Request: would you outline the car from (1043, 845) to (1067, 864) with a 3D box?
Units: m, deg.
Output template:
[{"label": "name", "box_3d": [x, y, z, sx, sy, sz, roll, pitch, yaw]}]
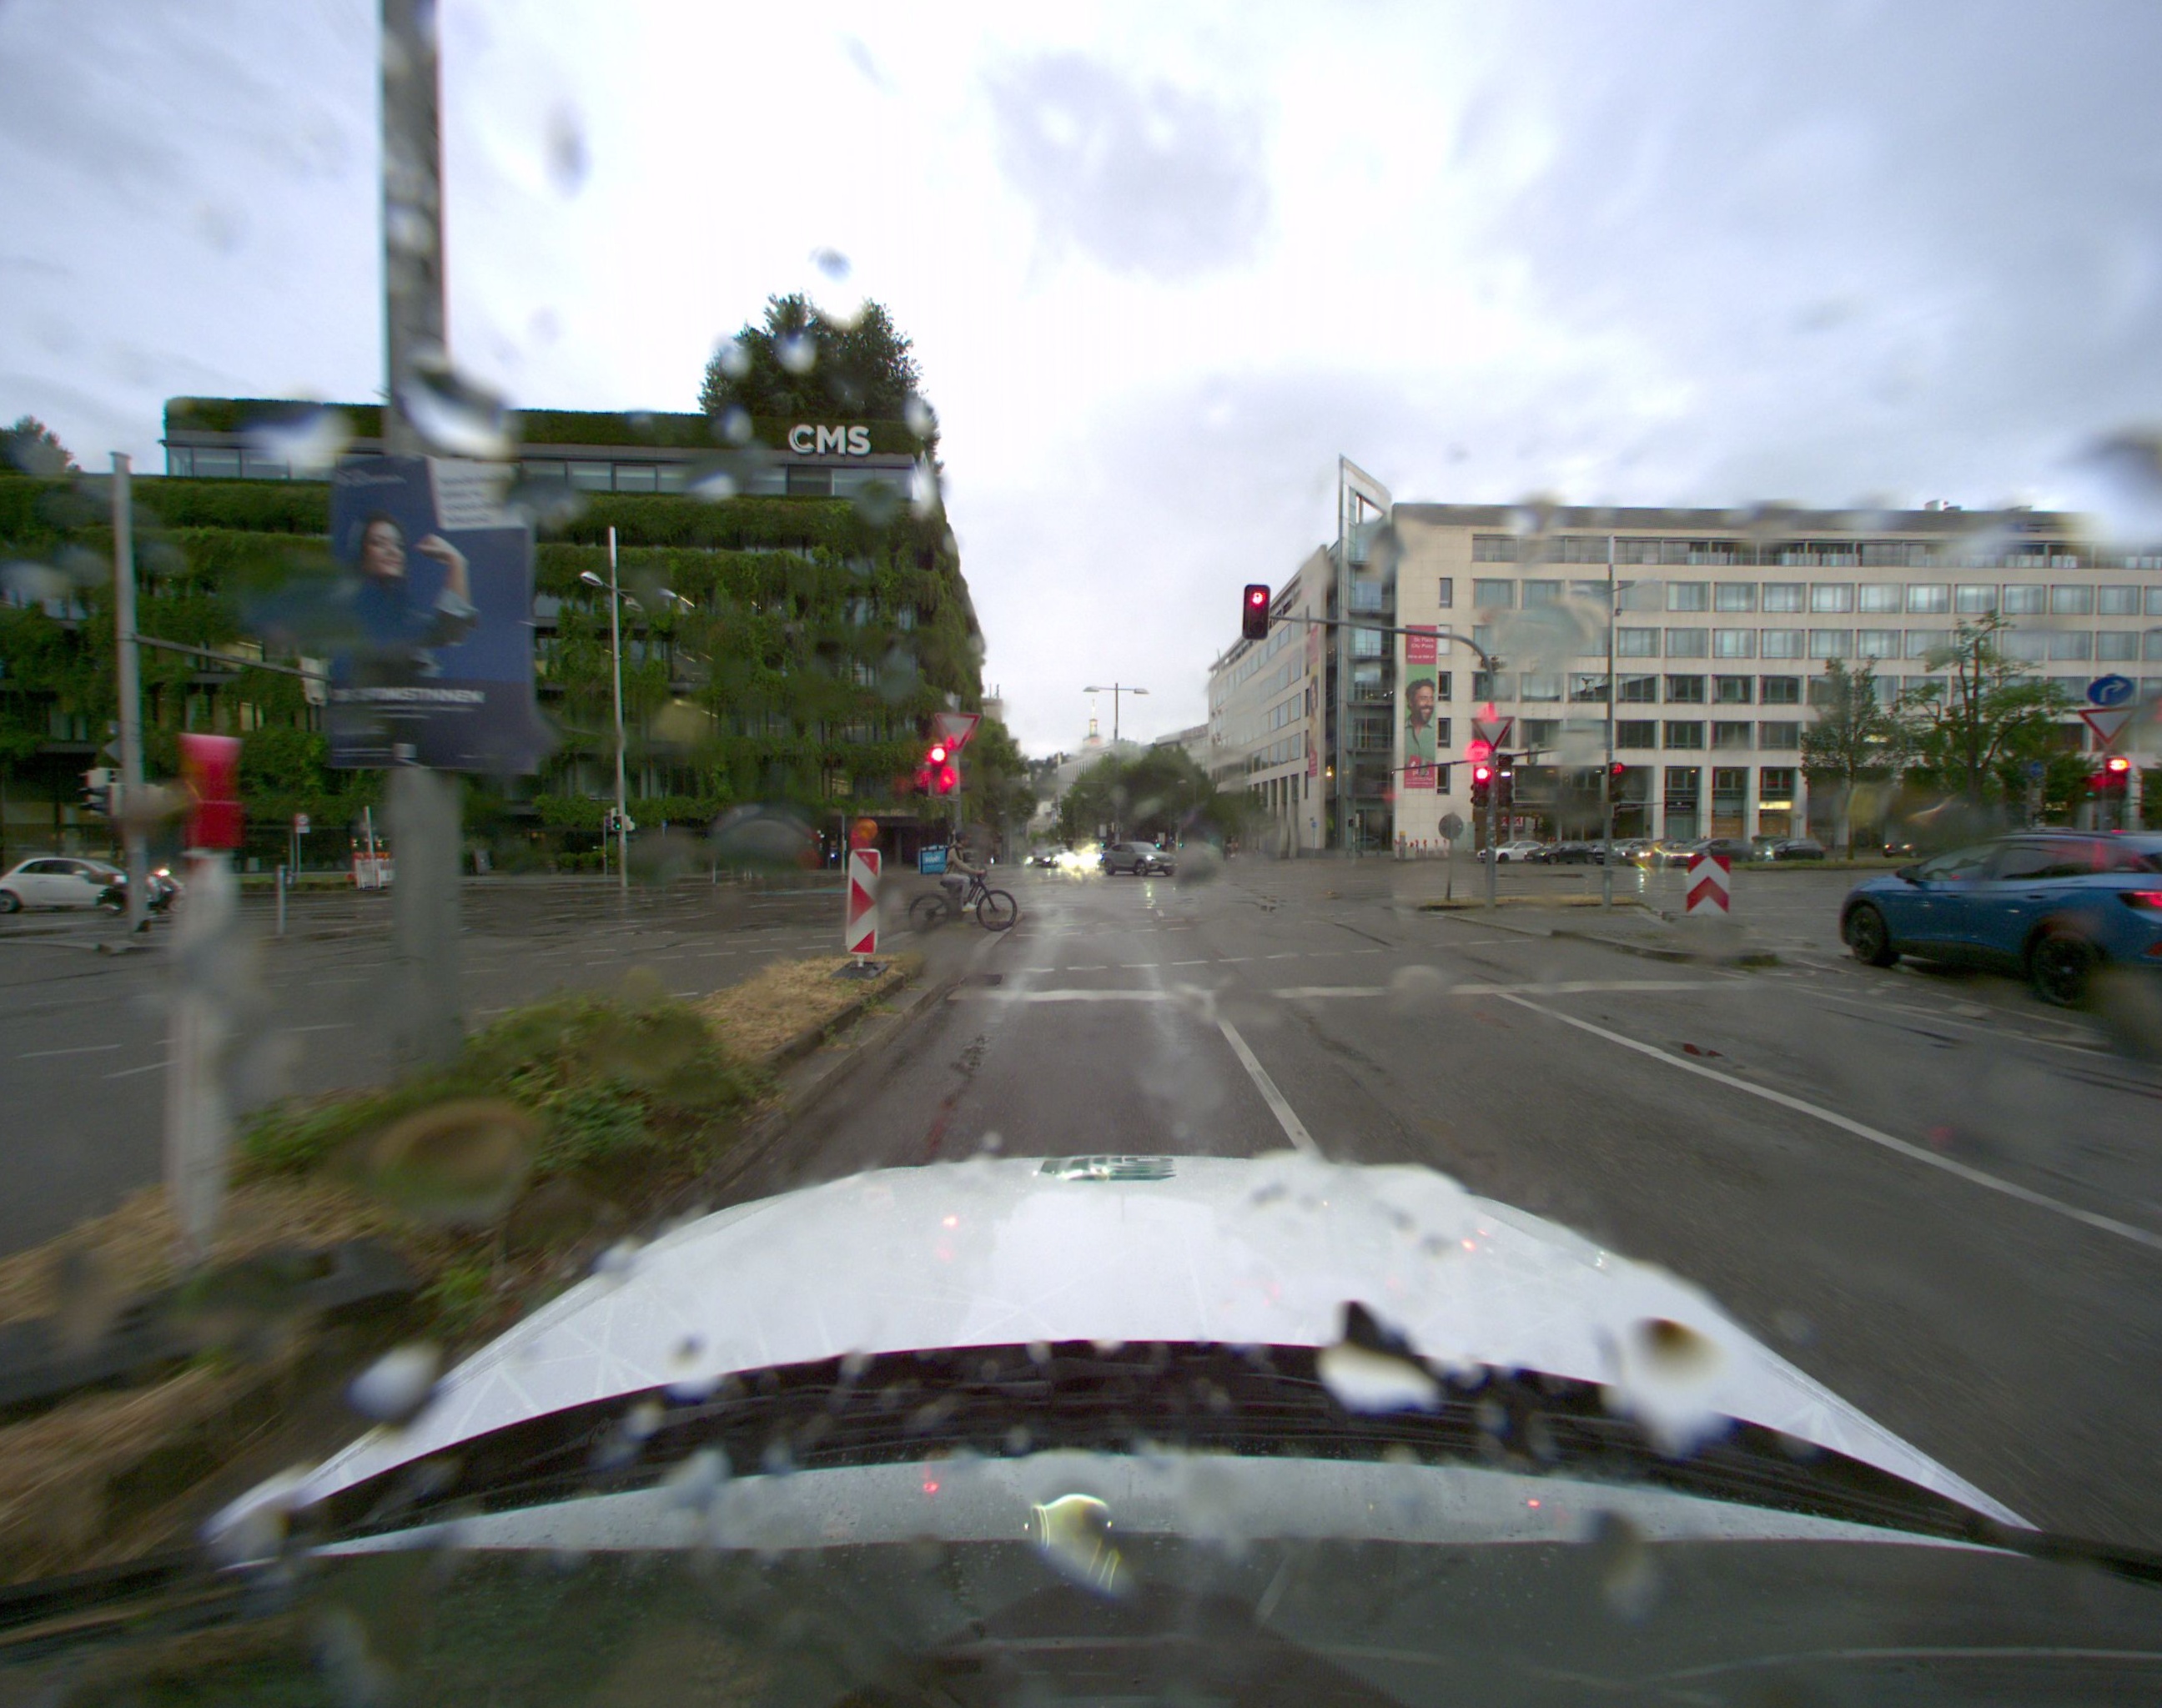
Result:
[{"label": "car", "box_3d": [-2.218, 0.026, 68.790, 1.853, 1.448, 4.614, -1, 1, -4]}]

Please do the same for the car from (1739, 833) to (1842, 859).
[{"label": "car", "box_3d": [39.160, -0.450, 44.986, 4.639, 1.348, 1.919, -1, 0, -13]}]

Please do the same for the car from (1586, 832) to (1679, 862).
[{"label": "car", "box_3d": [31.834, -0.414, 47.047, 4.455, 1.598, 1.991, -1, 0, -13]}]

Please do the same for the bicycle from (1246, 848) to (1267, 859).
[{"label": "bicycle", "box_3d": [15.015, -0.028, 69.792, 1.778, 0.934, 0.478, 0, 0, 43]}]

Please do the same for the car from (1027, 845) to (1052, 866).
[{"label": "car", "box_3d": [-3.169, 0.091, 62.266, 1.852, 1.448, 4.616, -1, 1, -3]}]

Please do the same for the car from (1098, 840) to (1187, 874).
[{"label": "car", "box_3d": [2.891, 0.112, 39.399, 2.007, 1.550, 4.510, -1, 1, -32]}]

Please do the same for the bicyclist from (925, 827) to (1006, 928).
[{"label": "bicyclist", "box_3d": [-2.065, 0.394, 14.454, 1.297, 1.704, 0.843, -1, 0, -17]}]

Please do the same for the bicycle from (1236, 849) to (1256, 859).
[{"label": "bicycle", "box_3d": [15.141, -0.014, 74.866, 1.786, 0.934, 0.476, -1, 0, 4]}]

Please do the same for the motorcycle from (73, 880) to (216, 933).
[{"label": "motorcycle", "box_3d": [-23.371, 1.291, 20.377, 2.231, 1.210, 0.844, -1, 0, -15]}]

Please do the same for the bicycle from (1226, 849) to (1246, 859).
[{"label": "bicycle", "box_3d": [14.575, -0.012, 76.730, 1.786, 0.934, 0.476, -1, 0, 4]}]

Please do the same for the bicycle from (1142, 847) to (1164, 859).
[{"label": "bicycle", "box_3d": [7.012, -0.090, 79.458, 0.798, 1.117, 2.229, -1, 0, -39]}]

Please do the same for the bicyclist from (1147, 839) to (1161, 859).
[{"label": "bicyclist", "box_3d": [7.134, -0.481, 79.312, 0.798, 1.975, 1.101, -1, 0, -39]}]

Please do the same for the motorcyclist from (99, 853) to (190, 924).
[{"label": "motorcyclist", "box_3d": [-23.391, 0.837, 20.372, 1.187, 1.703, 0.844, -1, 0, -15]}]

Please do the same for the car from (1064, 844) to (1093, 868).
[{"label": "car", "box_3d": [-0.149, 0.125, 57.735, 1.987, 1.486, 4.465, -1, 2, 1]}]

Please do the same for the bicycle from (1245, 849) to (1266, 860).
[{"label": "bicycle", "box_3d": [15.077, 0.006, 70.536, 1.778, 0.934, 0.478, 0, 0, 43]}]

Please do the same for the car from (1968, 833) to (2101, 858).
[{"label": "car", "box_3d": [54.899, -0.468, 47.035, 4.591, 1.348, 1.939, 0, 0, 29]}]

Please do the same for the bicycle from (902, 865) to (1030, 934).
[{"label": "bicycle", "box_3d": [-2.050, 0.778, 14.447, 2.150, 1.103, 0.843, -1, 0, -17]}]

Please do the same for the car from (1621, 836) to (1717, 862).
[{"label": "car", "box_3d": [31.591, -0.269, 43.760, 4.455, 1.348, 1.715, -1, 0, -13]}]

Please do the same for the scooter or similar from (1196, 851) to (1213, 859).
[{"label": "scooter or similar", "box_3d": [12.706, 0.098, 83.835, 1.750, 0.878, 0.486, -1, 0, -18]}]

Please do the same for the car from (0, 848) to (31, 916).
[{"label": "car", "box_3d": [-28.530, 0.720, 18.959, 4.805, 1.652, 1.963, -1, 0, -12]}]

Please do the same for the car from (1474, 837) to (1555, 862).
[{"label": "car", "box_3d": [28.111, -0.303, 52.888, 4.455, 1.598, 1.991, -1, 0, -14]}]

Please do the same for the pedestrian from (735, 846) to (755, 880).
[{"label": "pedestrian", "box_3d": [-17.694, 0.447, 42.896, 0.939, 1.758, 1.163, -1, 0, -22]}]

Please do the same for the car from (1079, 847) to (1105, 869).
[{"label": "car", "box_3d": [0.919, 0.318, 69.953, 1.959, 1.655, 4.361, -1, 2, -2]}]

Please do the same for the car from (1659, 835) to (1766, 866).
[{"label": "car", "box_3d": [31.341, -0.193, 40.441, 4.452, 1.464, 1.716, -1, 0, -11]}]

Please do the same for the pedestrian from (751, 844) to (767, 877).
[{"label": "pedestrian", "box_3d": [-17.076, 0.335, 43.194, 0.744, 1.758, 0.969, -1, 0, -22]}]

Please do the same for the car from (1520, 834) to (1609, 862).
[{"label": "car", "box_3d": [29.368, -0.383, 49.526, 4.451, 1.598, 1.993, -1, 0, -10]}]

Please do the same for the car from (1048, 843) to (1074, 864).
[{"label": "car", "box_3d": [-1.909, -0.047, 75.821, 2.171, 1.823, 4.637, -1, 0, -4]}]

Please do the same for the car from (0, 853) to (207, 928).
[{"label": "car", "box_3d": [-27.000, 0.950, 22.405, 3.450, 1.922, 1.992, -1, 0, -11]}]

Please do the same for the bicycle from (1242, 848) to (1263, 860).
[{"label": "bicycle", "box_3d": [14.356, -0.013, 68.199, 1.778, 0.934, 0.478, 0, 0, 43]}]

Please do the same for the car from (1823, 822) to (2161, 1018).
[{"label": "car", "box_3d": [9.852, 0.483, 8.259, 1.690, 1.529, 4.446, 0, 0, 17]}]

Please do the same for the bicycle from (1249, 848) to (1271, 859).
[{"label": "bicycle", "box_3d": [15.146, -0.028, 68.822, 1.778, 0.934, 0.478, 0, 0, 43]}]

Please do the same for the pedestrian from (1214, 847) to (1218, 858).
[{"label": "pedestrian", "box_3d": [15.334, -0.191, 92.256, 0.352, 1.173, 0.414, -1, 0, -5]}]

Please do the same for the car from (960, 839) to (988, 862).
[{"label": "car", "box_3d": [-9.532, -0.320, 72.884, 1.989, 1.895, 4.461, -1, 0, -2]}]
